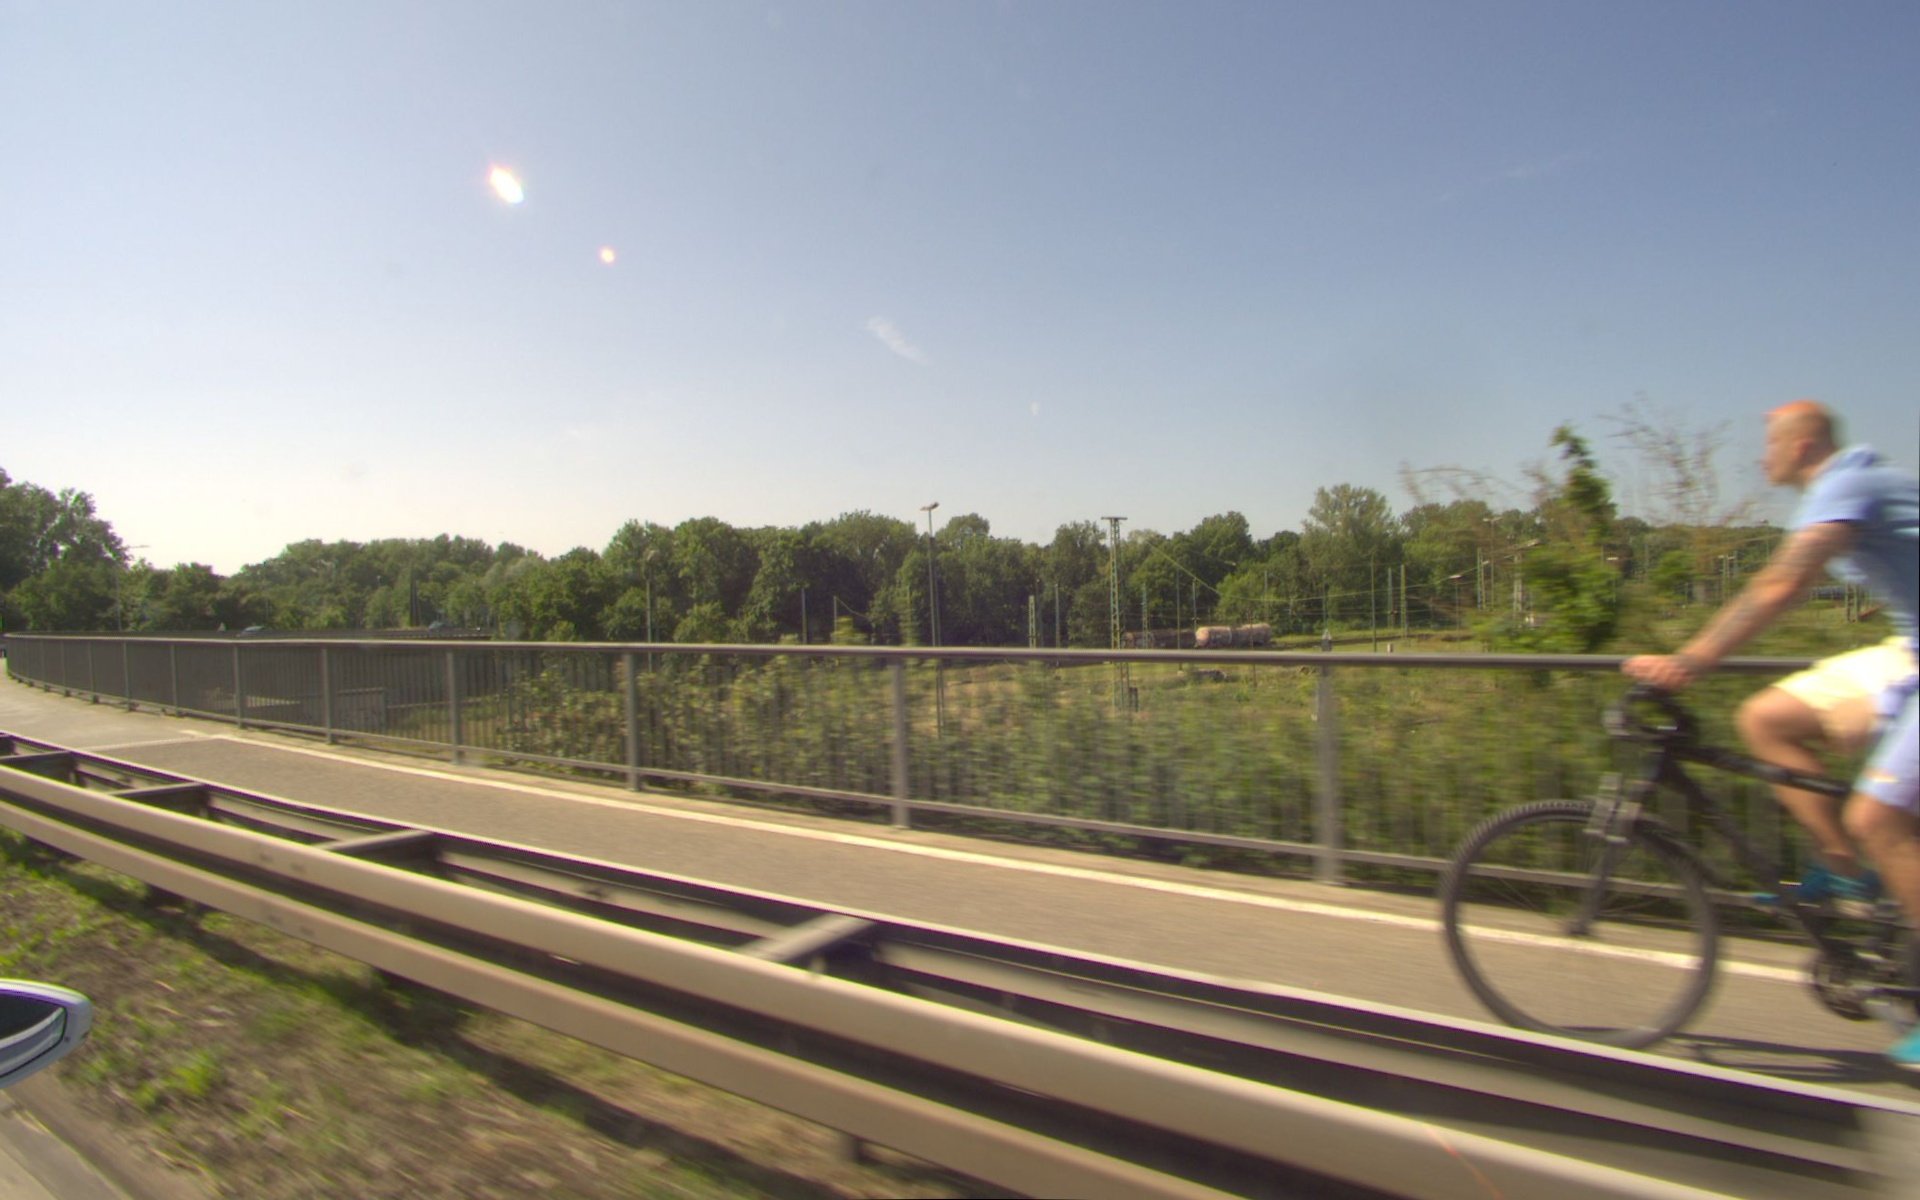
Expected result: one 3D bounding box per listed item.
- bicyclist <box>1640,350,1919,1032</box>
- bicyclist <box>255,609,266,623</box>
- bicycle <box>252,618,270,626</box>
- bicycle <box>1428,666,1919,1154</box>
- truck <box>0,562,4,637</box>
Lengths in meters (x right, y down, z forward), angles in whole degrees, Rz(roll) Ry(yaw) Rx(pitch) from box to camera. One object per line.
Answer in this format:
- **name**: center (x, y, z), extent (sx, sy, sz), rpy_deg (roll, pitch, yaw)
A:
- **bicyclist**: center (2.274, 0.202, 2.556), extent (0.791, 1.541, 0.657), rpy_deg (-2, 3, 28)
- **bicyclist**: center (-77.391, 1.719, 110.825), extent (0.650, 1.516, 1.014), rpy_deg (0, 1, -13)
- **bicycle**: center (-77.414, 2.398, 110.926), extent (0.914, 0.903, 1.965), rpy_deg (0, 0, -13)
- **bicycle**: center (2.264, 0.739, 2.627), extent (1.818, 1.034, 0.700), rpy_deg (-1, 3, 30)
- **truck**: center (-48.417, -0.067, 47.471), extent (3.231, 3.807, 8.310), rpy_deg (2, -1, -35)
